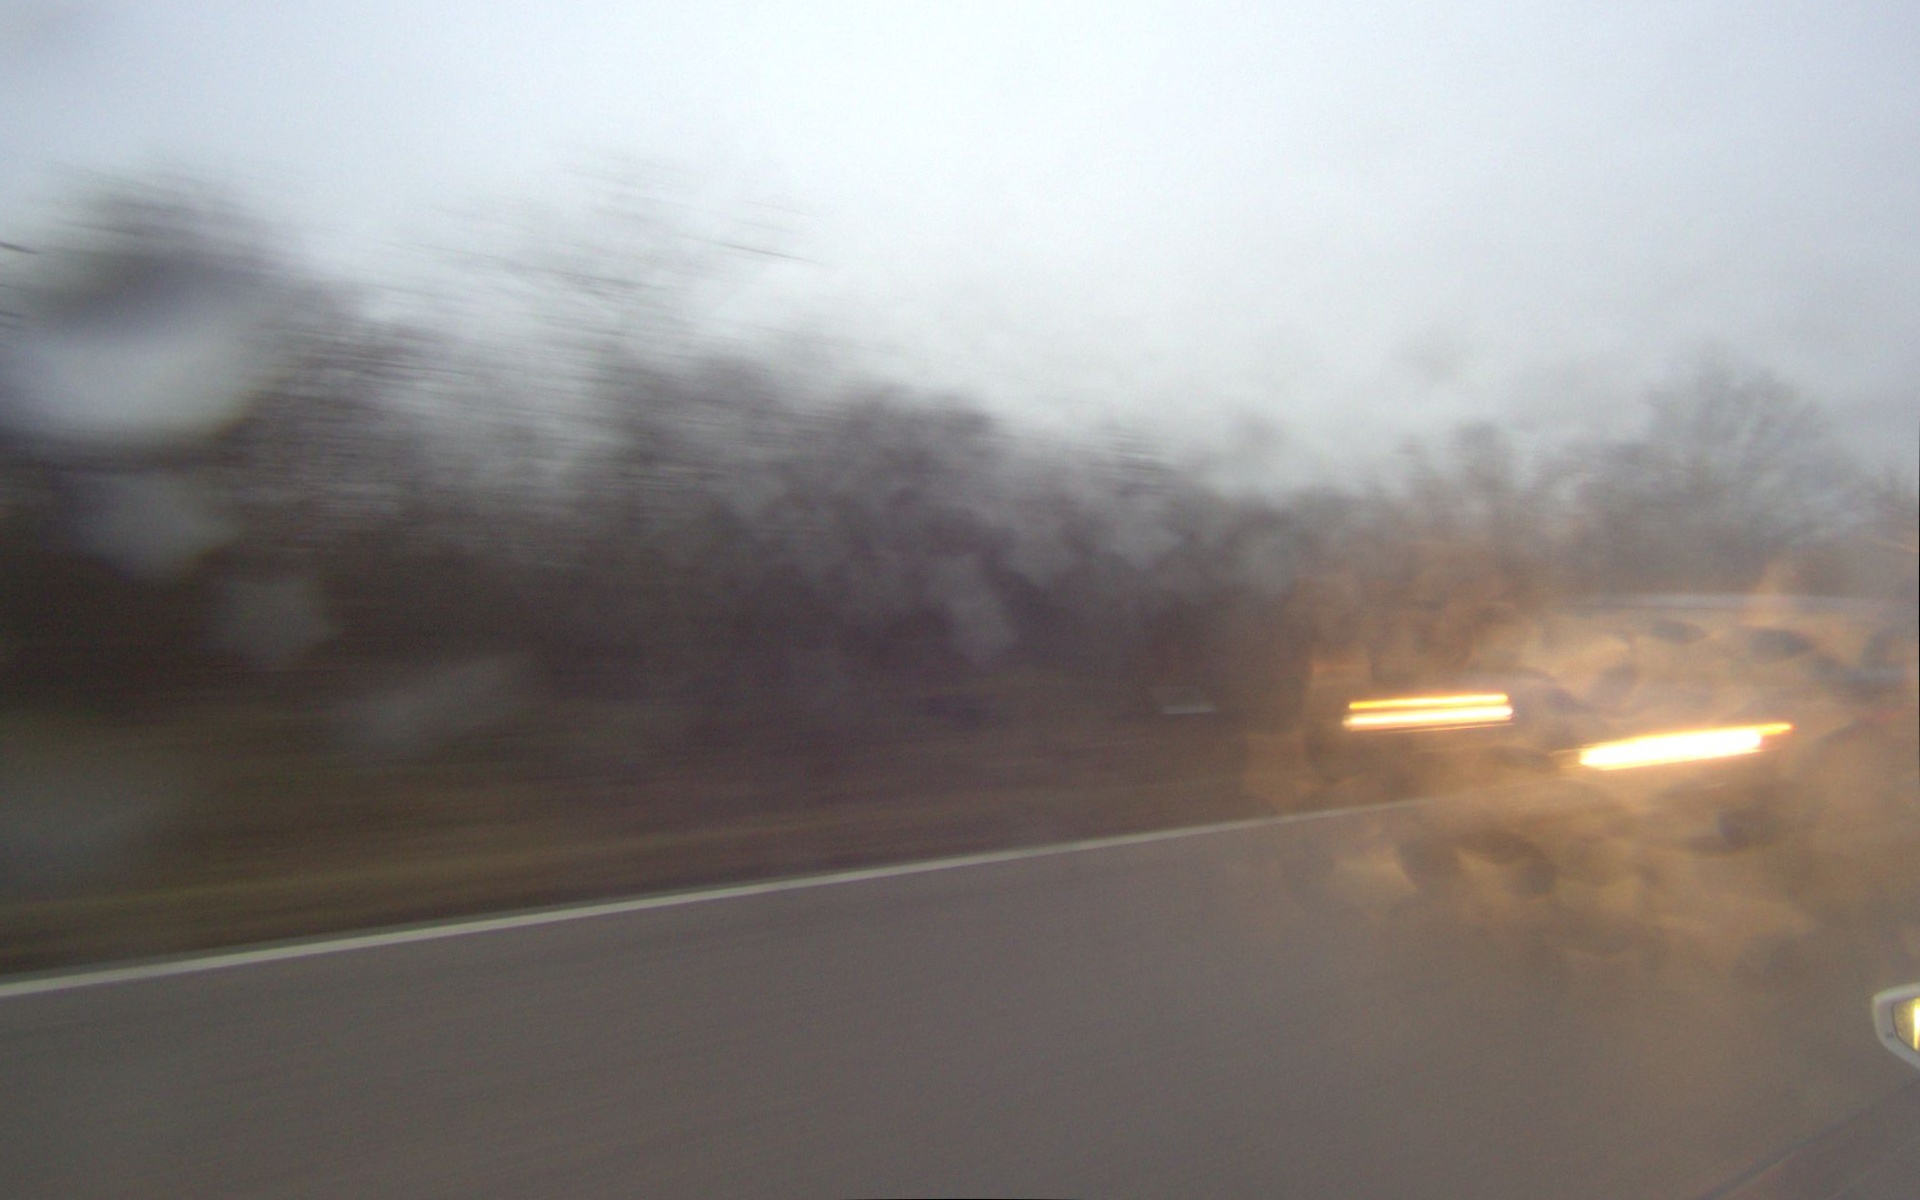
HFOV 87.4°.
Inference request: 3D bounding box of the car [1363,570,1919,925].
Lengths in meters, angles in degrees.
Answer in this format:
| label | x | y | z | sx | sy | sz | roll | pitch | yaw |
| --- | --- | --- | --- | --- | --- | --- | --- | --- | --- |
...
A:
| label | x | y | z | sx | sy | sz | roll | pitch | yaw |
| --- | --- | --- | --- | --- | --- | --- | --- | --- | --- |
| car | 4.800 | 0.736 | 6.630 | 4.057 | 1.676 | 1.912 | 2 | 0 | -31 |
